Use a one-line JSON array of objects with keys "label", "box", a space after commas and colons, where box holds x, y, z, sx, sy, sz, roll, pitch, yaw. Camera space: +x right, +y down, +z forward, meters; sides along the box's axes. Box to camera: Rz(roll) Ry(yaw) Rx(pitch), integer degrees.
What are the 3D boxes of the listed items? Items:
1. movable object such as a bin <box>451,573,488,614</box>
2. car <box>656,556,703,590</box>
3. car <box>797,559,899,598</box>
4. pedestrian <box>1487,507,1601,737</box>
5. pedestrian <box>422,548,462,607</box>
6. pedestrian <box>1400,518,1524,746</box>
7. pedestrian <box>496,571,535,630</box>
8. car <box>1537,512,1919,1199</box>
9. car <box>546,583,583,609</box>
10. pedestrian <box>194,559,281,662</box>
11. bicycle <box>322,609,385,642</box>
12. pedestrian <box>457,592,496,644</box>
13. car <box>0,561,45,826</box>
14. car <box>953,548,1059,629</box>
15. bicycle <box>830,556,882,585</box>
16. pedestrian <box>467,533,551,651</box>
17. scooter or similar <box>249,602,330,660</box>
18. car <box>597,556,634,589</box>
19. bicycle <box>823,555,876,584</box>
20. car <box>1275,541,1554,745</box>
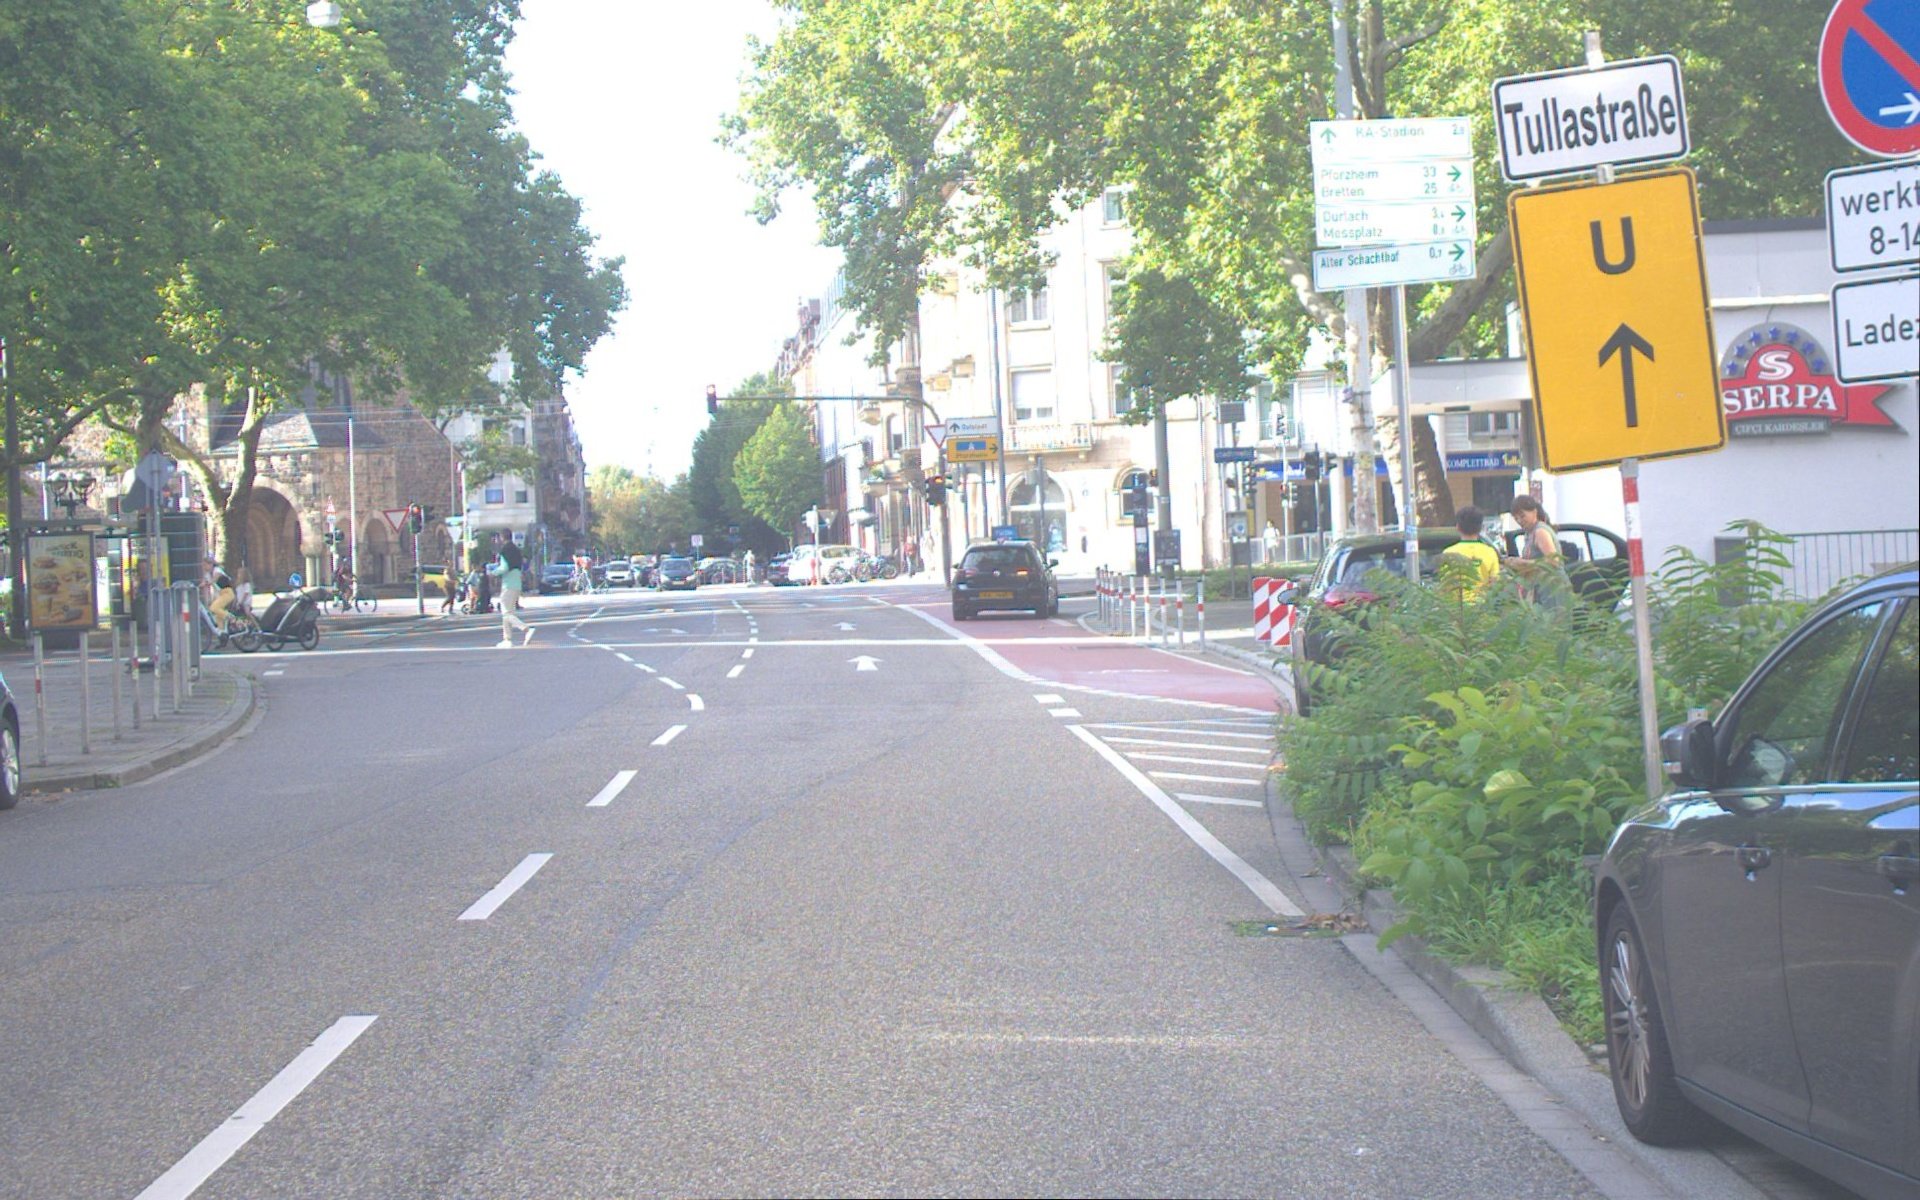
[{"label": "movable object such as a bin", "box": [-14.116, -0.190, 98.865, 0.838, 1.120, 0.575, -2, 1, 19]}, {"label": "car", "box": [-12.147, -1.183, 148.925, 1.949, 1.367, 4.001, -2, 1, -5]}, {"label": "car", "box": [-4.635, -0.889, 141.736, 3.986, 1.415, 2.000, -3, 1, -8]}, {"label": "pedestrian", "box": [4.257, 0.153, 25.096, 0.652, 1.639, 0.743, -2, 1, -1]}, {"label": "pedestrian", "box": [-14.951, -0.656, 99.156, 0.815, 1.623, 0.604, -5, 1, 20]}, {"label": "pedestrian", "box": [3.511, 0.215, 24.088, 0.652, 1.533, 0.743, -3, 1, -1]}, {"label": "pedestrian", "box": [-12.872, 0.019, 99.577, 0.781, 1.656, 0.778, -2, 1, 18]}, {"label": "car", "box": [2.476, 0.569, 6.911, 1.690, 1.523, 4.238, -3, 1, -2]}, {"label": "car", "box": [-20.043, -0.197, 174.295, 1.550, 1.225, 3.588, -1, 1, -2]}, {"label": "pedestrian", "box": [-11.866, 0.169, 56.503, 0.815, 1.648, 1.074, -2, 1, 35]}, {"label": "bicycle", "box": [-18.585, 0.776, 105.319, 1.832, 0.952, 0.572, -2, 1, 22]}, {"label": "pedestrian", "box": [-13.696, 0.506, 97.486, 0.782, 1.427, 0.730, -2, 1, 22]}, {"label": "car", "box": [-6.767, 0.650, 20.212, 1.799, 1.614, 3.803, -5, 1, -3]}, {"label": "car", "box": [0.826, -0.236, 63.896, 1.751, 1.409, 4.000, -2, 1, -2]}, {"label": "bicycle", "box": [-4.237, -1.205, 139.988, 2.022, 1.078, 0.631, -3, 1, -14]}, {"label": "pedestrian", "box": [-6.847, -0.122, 52.165, 1.074, 1.747, 0.919, -1, 1, -17]}, {"label": "scooter or similar", "box": [-11.188, 0.519, 57.354, 0.807, 0.919, 1.012, -2, 1, 36]}, {"label": "car", "box": [-21.778, -1.728, 217.496, 1.993, 2.007, 4.000, -2, 1, -1]}, {"label": "bicycle", "box": [-4.477, -1.242, 139.274, 2.022, 1.078, 0.620, -3, 1, -14]}, {"label": "car", "box": [3.547, 0.289, 27.500, 1.761, 1.407, 4.233, -3, 1, 2]}]
